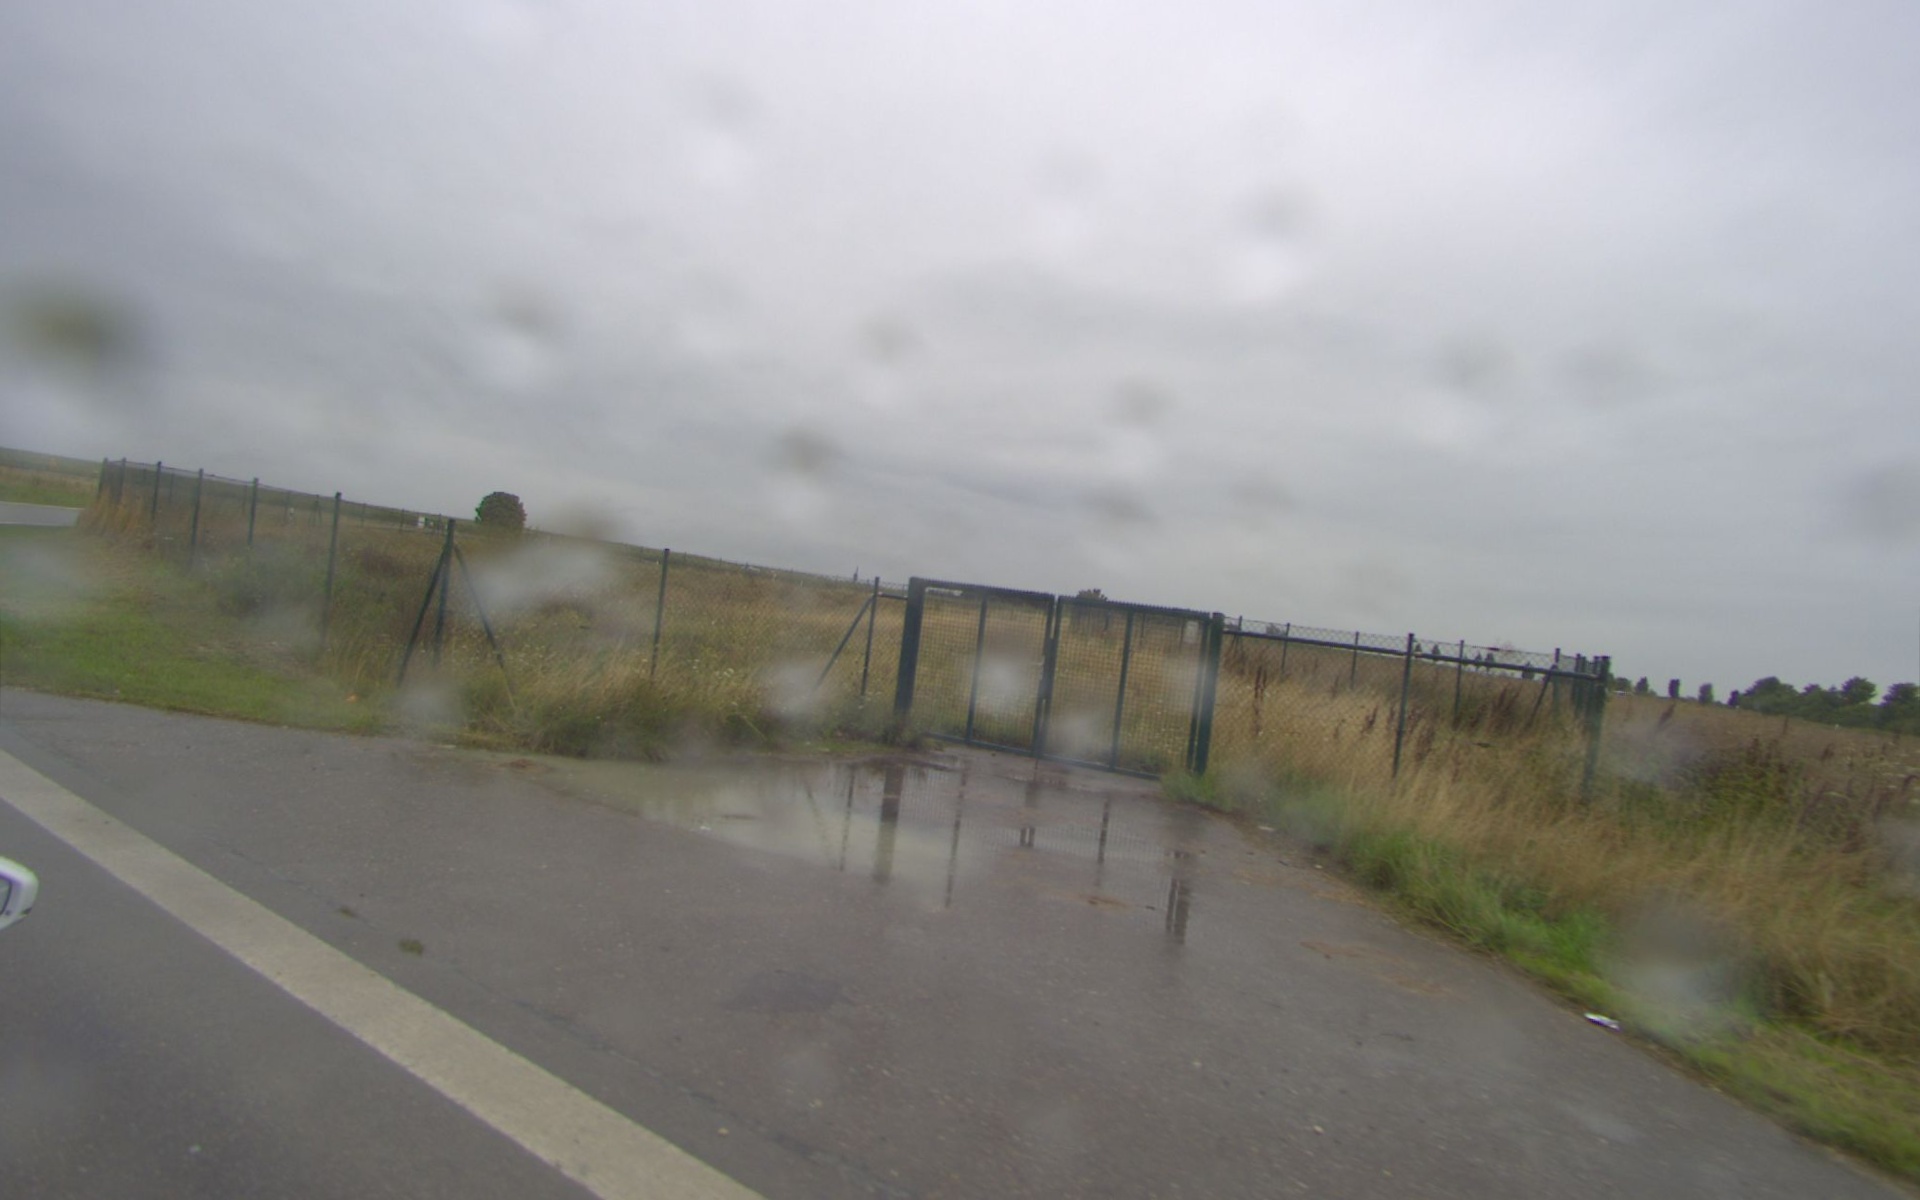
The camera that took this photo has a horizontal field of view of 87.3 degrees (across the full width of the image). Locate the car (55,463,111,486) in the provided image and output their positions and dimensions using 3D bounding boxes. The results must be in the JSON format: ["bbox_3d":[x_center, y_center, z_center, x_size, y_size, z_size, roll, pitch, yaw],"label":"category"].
[{"bbox_3d":[-92.555,-13.233,106.202,3.934,1.759,1.730,8,2,-11],"label":"car"}]
